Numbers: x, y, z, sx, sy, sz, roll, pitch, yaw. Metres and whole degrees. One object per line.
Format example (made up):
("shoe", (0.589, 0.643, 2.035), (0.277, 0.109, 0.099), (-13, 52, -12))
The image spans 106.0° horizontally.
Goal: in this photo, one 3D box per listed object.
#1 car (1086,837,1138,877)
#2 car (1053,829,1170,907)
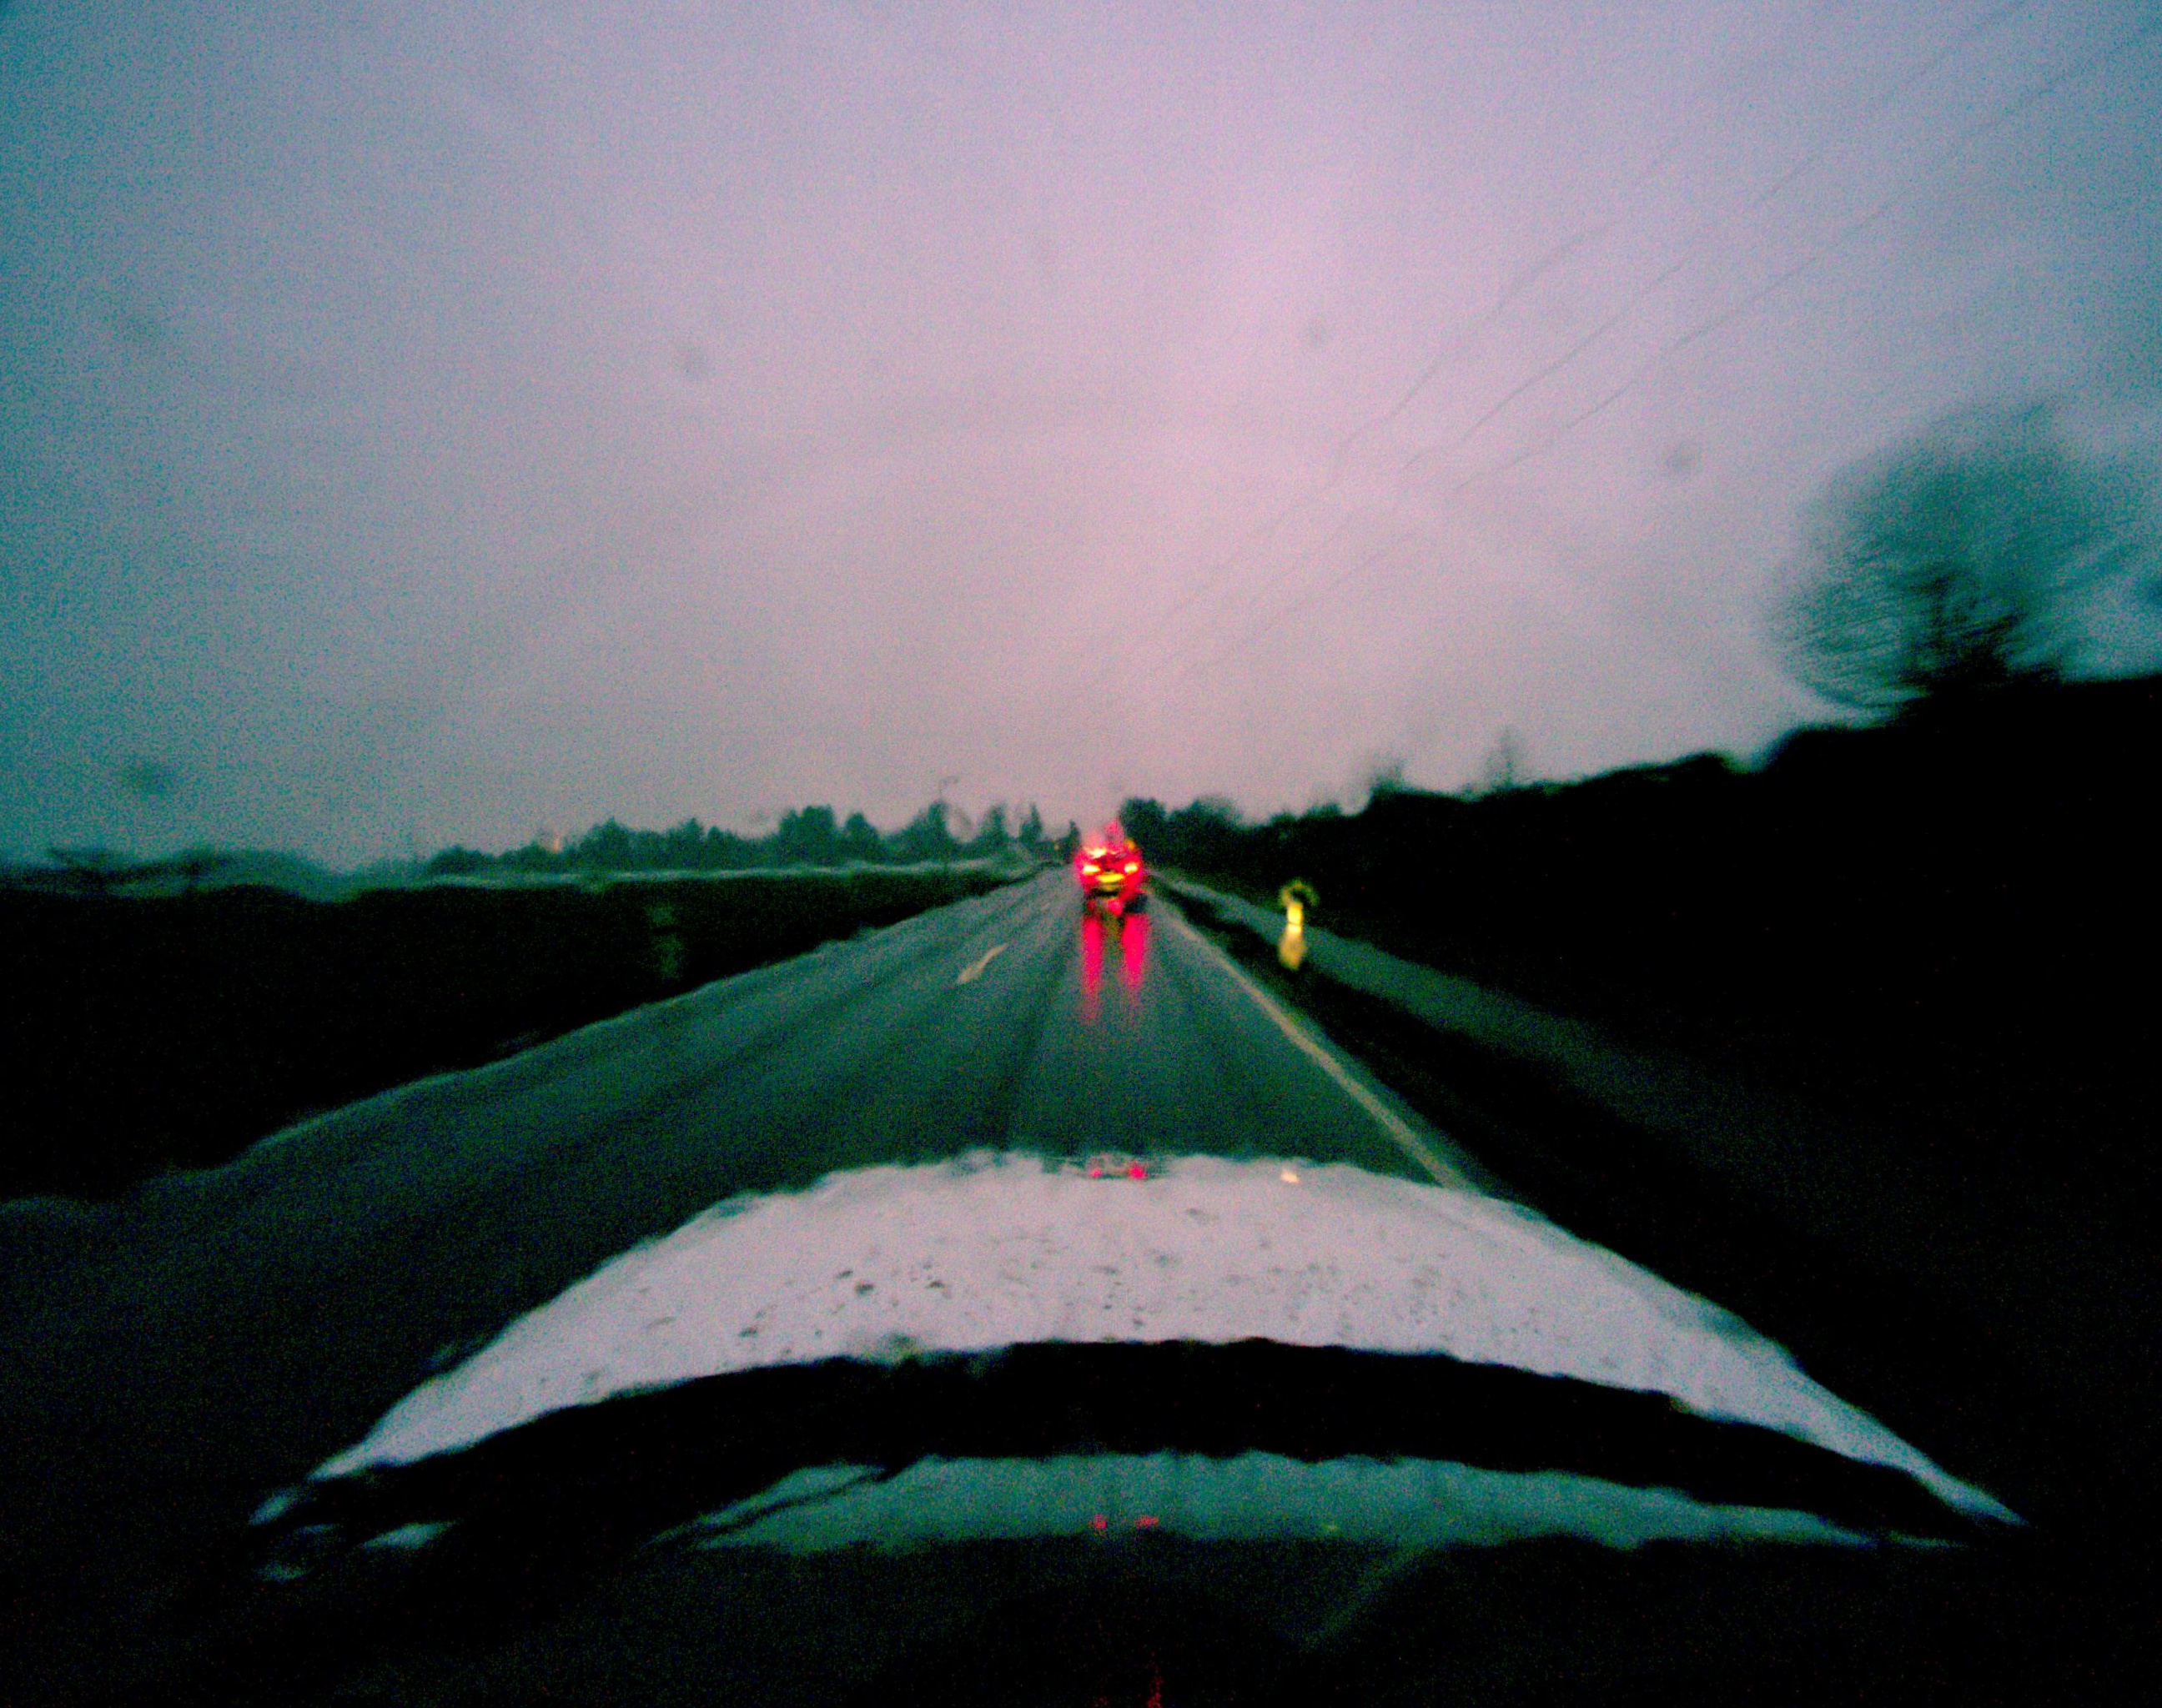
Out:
("car", (1.824, 0.154, 47.295), (2.745, 2.035, 6.594), (-2, 0, 2))
("car", (0.987, 0.358, 25.858), (3.152, 2.035, 6.855), (-2, 0, 2))
